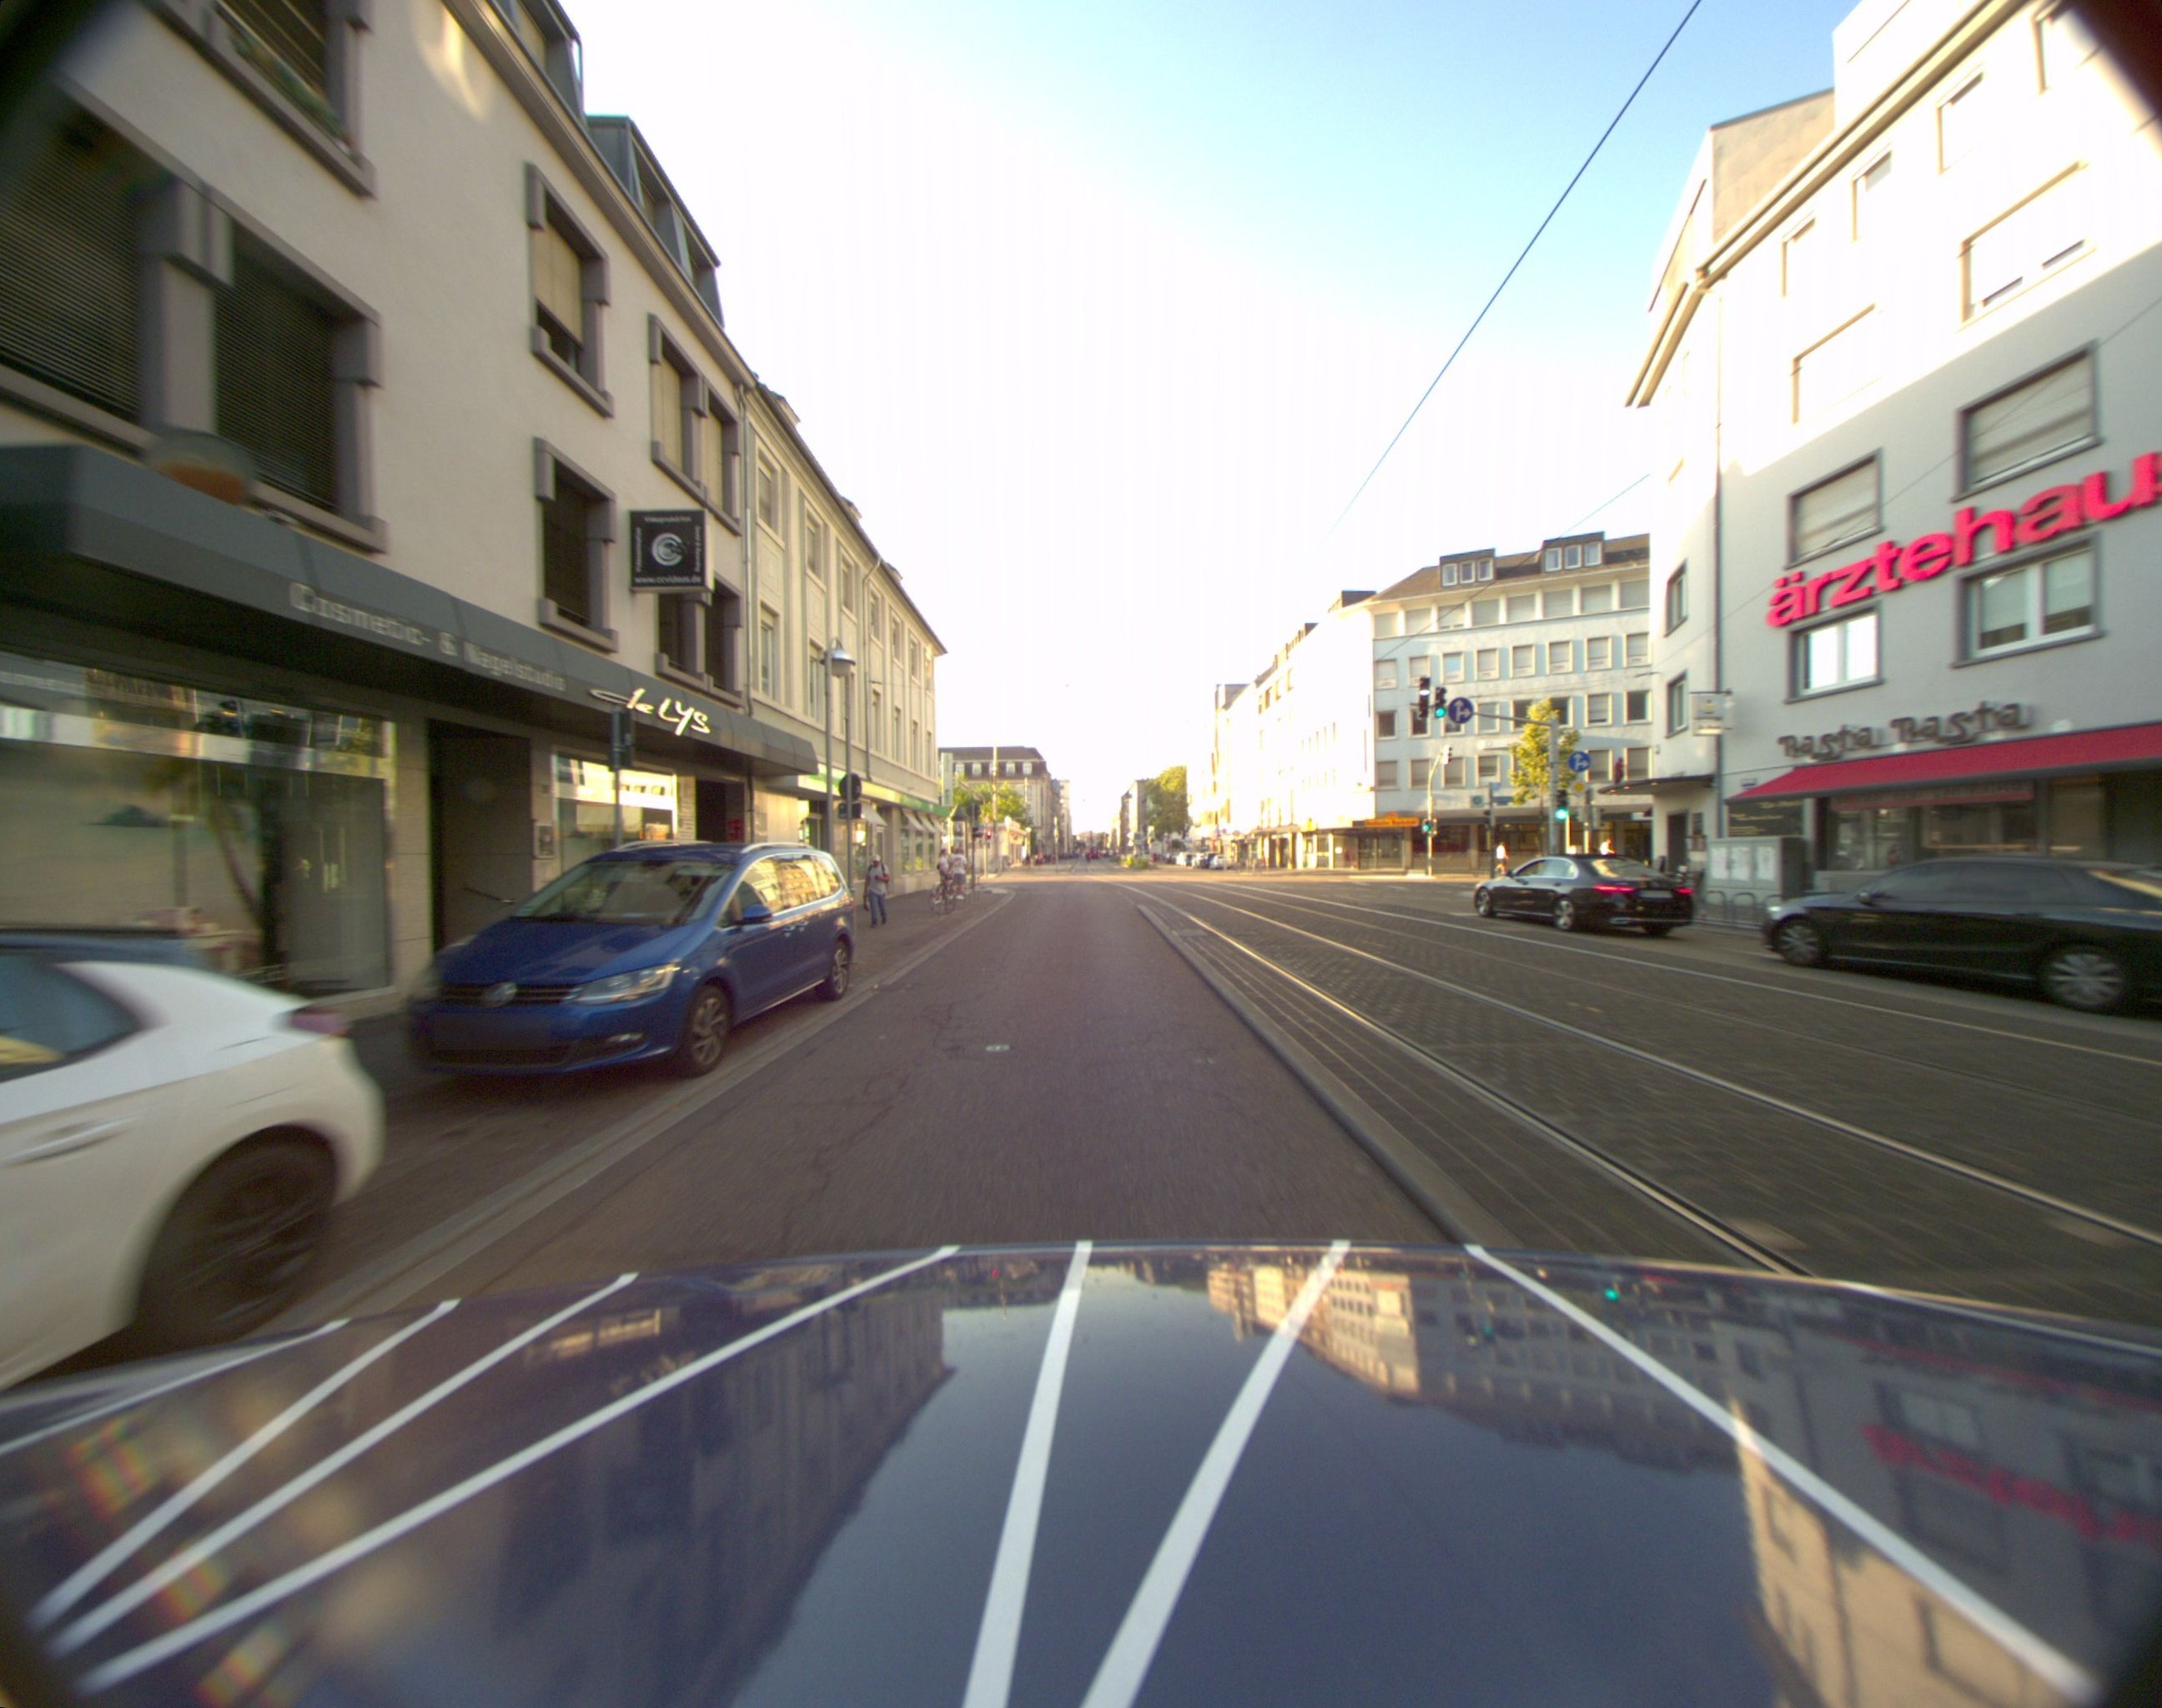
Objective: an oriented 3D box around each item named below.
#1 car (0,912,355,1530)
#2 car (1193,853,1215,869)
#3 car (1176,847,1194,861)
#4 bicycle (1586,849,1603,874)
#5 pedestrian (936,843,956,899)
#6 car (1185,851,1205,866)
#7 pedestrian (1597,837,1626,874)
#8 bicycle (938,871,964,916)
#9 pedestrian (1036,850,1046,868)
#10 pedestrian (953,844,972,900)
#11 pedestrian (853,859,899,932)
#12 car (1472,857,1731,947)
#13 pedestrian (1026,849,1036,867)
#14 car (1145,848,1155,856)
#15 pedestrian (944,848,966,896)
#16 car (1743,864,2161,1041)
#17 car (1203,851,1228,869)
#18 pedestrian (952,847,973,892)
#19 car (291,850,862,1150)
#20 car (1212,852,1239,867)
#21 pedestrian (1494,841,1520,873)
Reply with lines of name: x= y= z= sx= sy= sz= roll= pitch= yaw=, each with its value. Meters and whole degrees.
car: x=-3.643 y=0.982 z=0.937 sx=1.770 sy=1.477 sz=3.872 roll=1 pitch=1 yaw=0
car: x=12.767 y=0.701 z=78.989 sx=1.847 sy=1.626 sz=4.001 roll=-1 pitch=0 yaw=3
car: x=12.550 y=-0.050 z=91.977 sx=1.847 sy=1.626 sz=4.001 roll=-1 pitch=0 yaw=3
bicycle: x=25.948 y=0.373 z=38.394 sx=0.469 sy=1.196 sz=1.922 roll=0 pitch=1 yaw=26
pedestrian: x=-4.748 y=0.593 z=26.669 sx=0.640 sy=1.917 sz=0.529 roll=-1 pitch=1 yaw=-11
car: x=12.957 y=0.516 z=86.574 sx=1.847 sy=1.626 sz=4.001 roll=-1 pitch=0 yaw=3
pedestrian: x=27.841 y=0.062 z=39.876 sx=0.808 sy=1.876 sz=0.991 roll=-3 pitch=2 yaw=-38
bicycle: x=-3.491 y=1.041 z=20.506 sx=0.479 sy=1.083 sz=1.647 roll=1 pitch=1 yaw=-3
pedestrian: x=-3.776 y=0.454 z=72.173 sx=0.806 sy=1.603 sz=0.993 roll=-2 pitch=2 yaw=0
pedestrian: x=-4.101 y=0.611 z=26.282 sx=0.576 sy=1.917 sz=0.496 roll=-1 pitch=1 yaw=-10
pedestrian: x=-4.481 y=0.893 z=16.667 sx=0.699 sy=1.539 sz=0.870 roll=-1 pitch=1 yaw=3
car: x=9.702 y=0.799 z=14.738 sx=1.919 sy=1.378 sz=4.563 roll=1 pitch=0 yaw=1
pedestrian: x=-4.725 y=0.384 z=72.198 sx=0.806 sy=1.603 sz=0.993 roll=-2 pitch=2 yaw=0
car: x=13.801 y=-0.425 z=151.443 sx=1.847 sy=1.626 sz=4.001 roll=-1 pitch=0 yaw=3
pedestrian: x=-4.582 y=0.638 z=27.651 sx=0.639 sy=1.735 sz=0.699 roll=-1 pitch=1 yaw=3
car: x=9.881 y=0.858 z=7.973 sx=1.919 sy=1.378 sz=4.563 roll=1 pitch=0 yaw=1
car: x=12.752 y=0.553 z=72.394 sx=1.847 sy=1.626 sz=4.001 roll=-1 pitch=0 yaw=3
pedestrian: x=-4.683 y=0.604 z=30.043 sx=0.672 sy=1.768 sz=0.647 roll=-1 pitch=1 yaw=-1
car: x=-3.610 y=0.839 z=6.711 sx=1.919 sy=1.707 sz=4.563 roll=1 pitch=1 yaw=1
car: x=12.842 y=0.468 z=67.690 sx=1.847 sy=1.287 sz=4.001 roll=-1 pitch=0 yaw=3
pedestrian: x=23.291 y=0.144 z=41.559 sx=0.808 sy=1.716 sz=0.991 roll=-3 pitch=2 yaw=-38
